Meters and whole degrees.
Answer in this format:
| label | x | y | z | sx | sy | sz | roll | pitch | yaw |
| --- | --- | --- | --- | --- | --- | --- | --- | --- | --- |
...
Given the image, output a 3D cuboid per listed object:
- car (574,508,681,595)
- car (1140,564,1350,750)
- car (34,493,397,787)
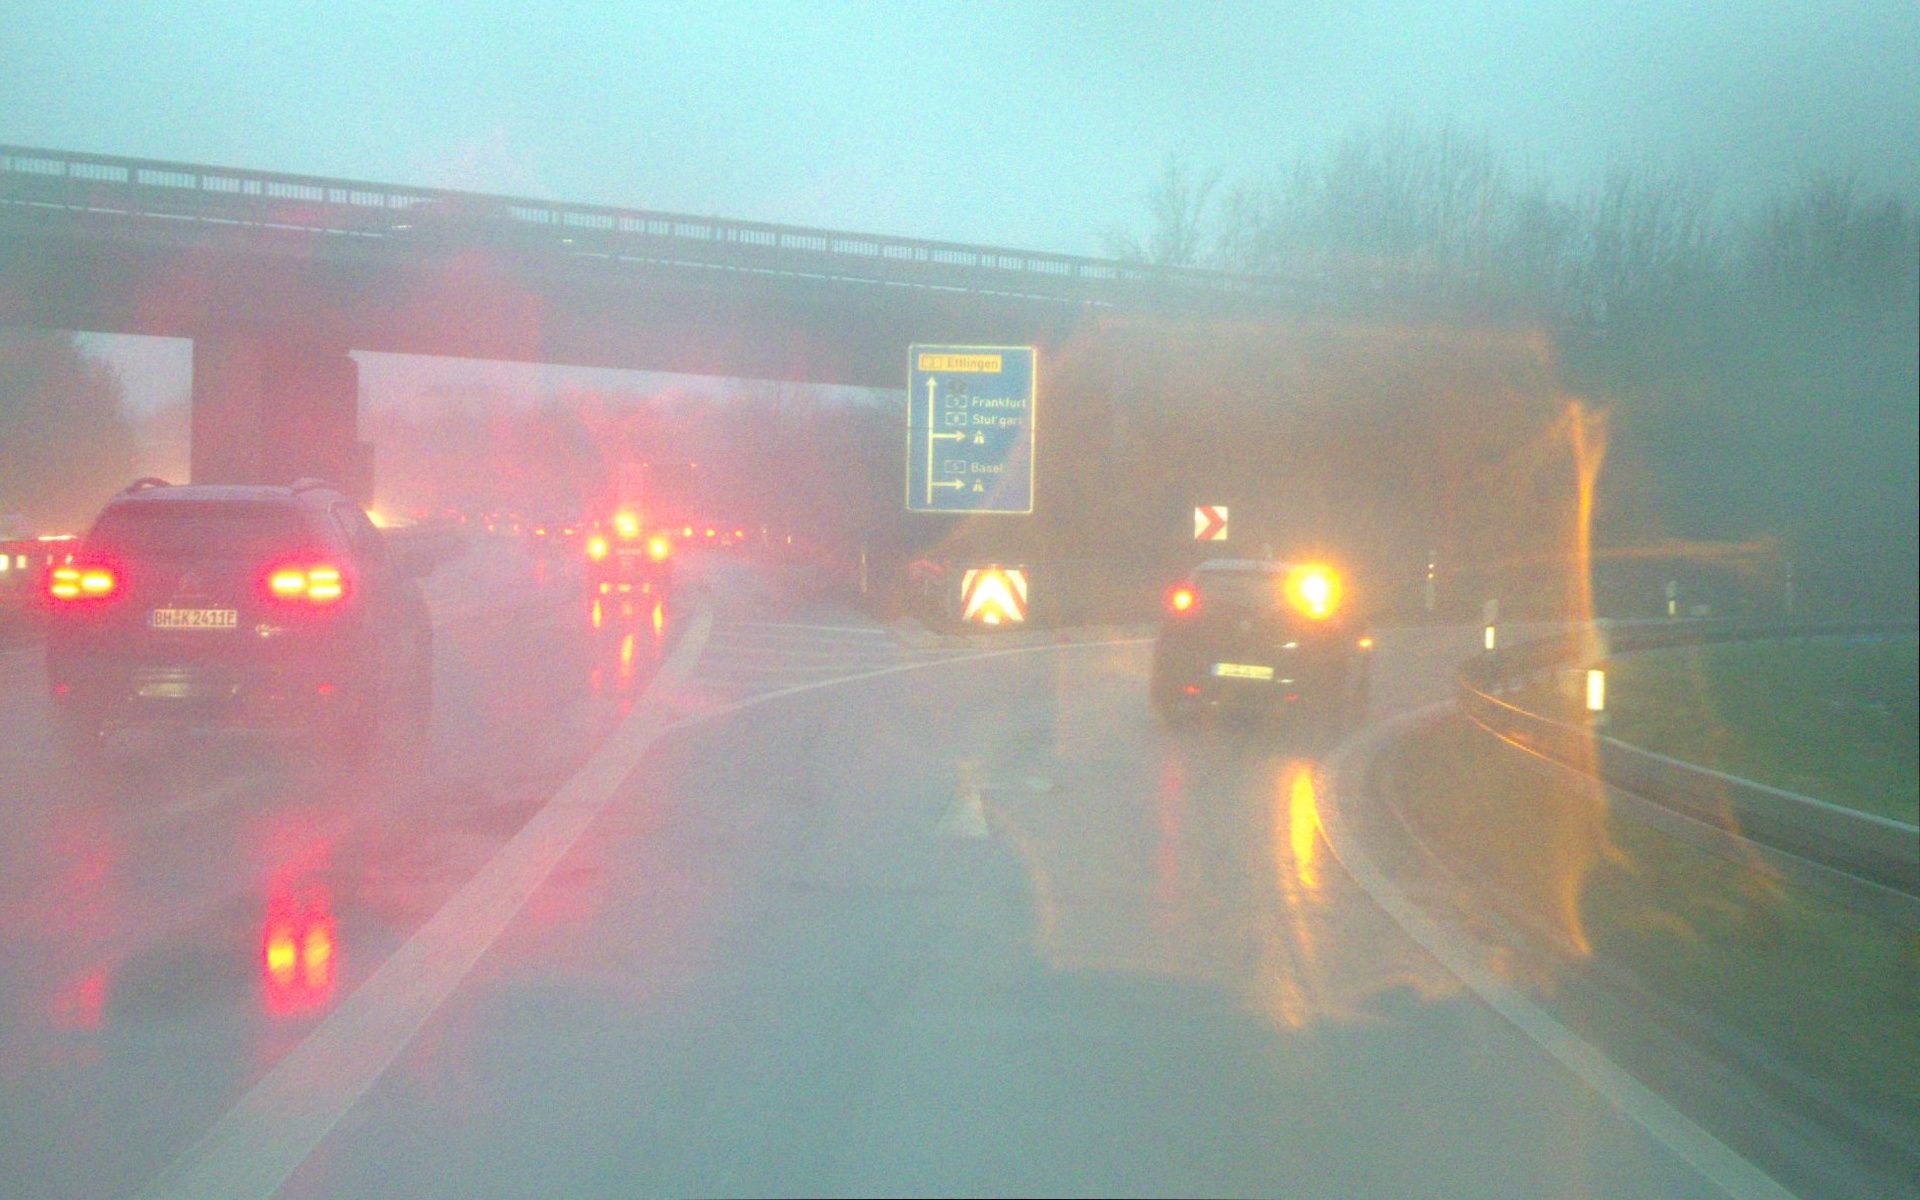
| label | x | y | z | sx | sy | sz | roll | pitch | yaw |
| --- | --- | --- | --- | --- | --- | --- | --- | --- | --- |
| car | -6.919 | -1.037 | 71.828 | 1.878 | 1.611 | 3.875 | 2 | 3 | -1 |
| car | 2.575 | 0.473 | 31.444 | 1.732 | 1.424 | 3.765 | -3 | 2 | 4 |
| car | -4.566 | 0.168 | 21.602 | 1.993 | 1.659 | 4.001 | 0 | 2 | -9 |
